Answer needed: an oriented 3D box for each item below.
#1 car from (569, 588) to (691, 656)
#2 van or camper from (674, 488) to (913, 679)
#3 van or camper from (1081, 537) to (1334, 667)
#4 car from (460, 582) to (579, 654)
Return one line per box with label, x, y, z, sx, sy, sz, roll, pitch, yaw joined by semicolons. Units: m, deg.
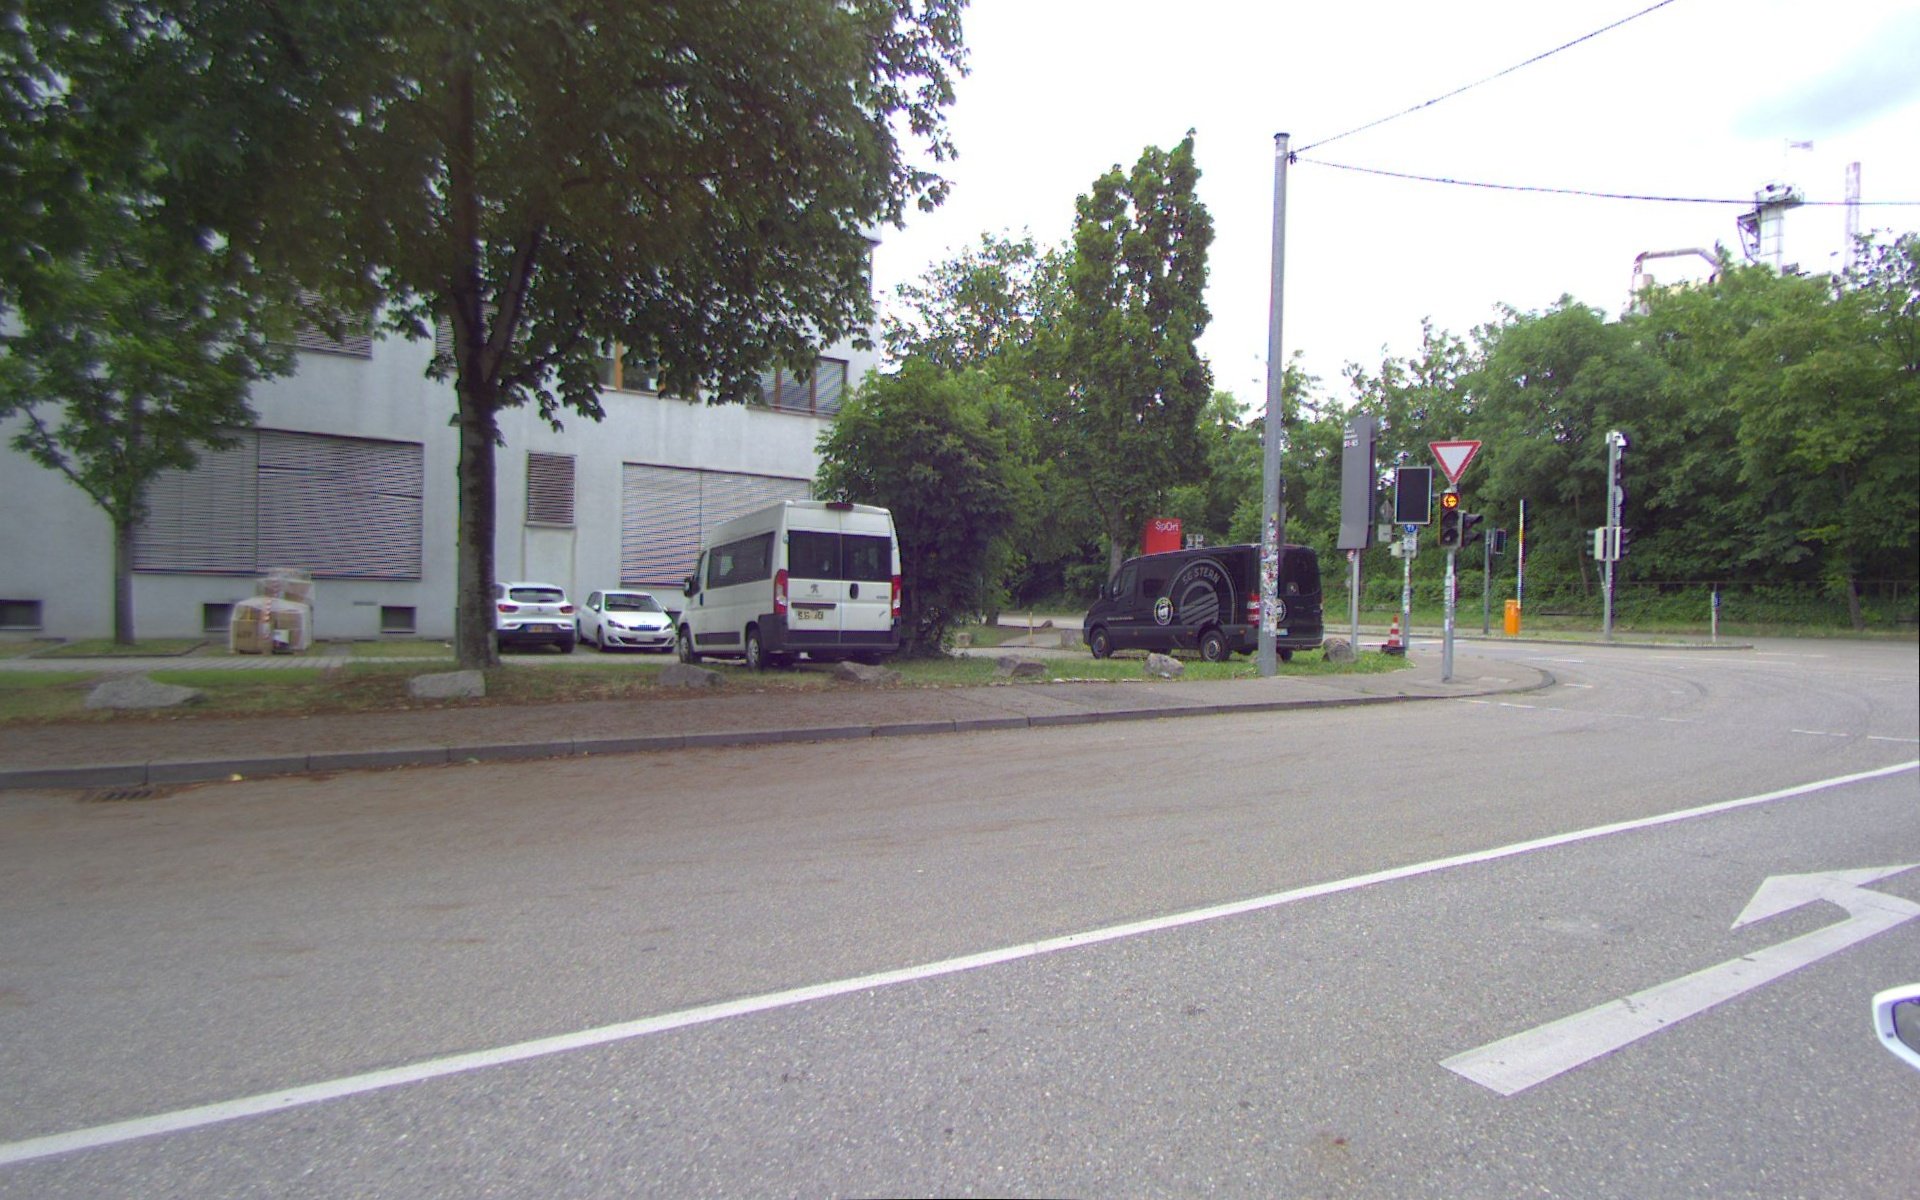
car;-8.482;0.520;25.606;1.881;1.475;3.972;3;0;-34
van or camper;-2.909;-0.244;16.393;2.039;2.604;4.943;3;0;-32
van or camper;5.005;0.133;21.266;2.036;2.343;5.513;3;-3;-28
car;-10.581;0.390;23.986;1.881;1.475;3.972;3;0;-34
